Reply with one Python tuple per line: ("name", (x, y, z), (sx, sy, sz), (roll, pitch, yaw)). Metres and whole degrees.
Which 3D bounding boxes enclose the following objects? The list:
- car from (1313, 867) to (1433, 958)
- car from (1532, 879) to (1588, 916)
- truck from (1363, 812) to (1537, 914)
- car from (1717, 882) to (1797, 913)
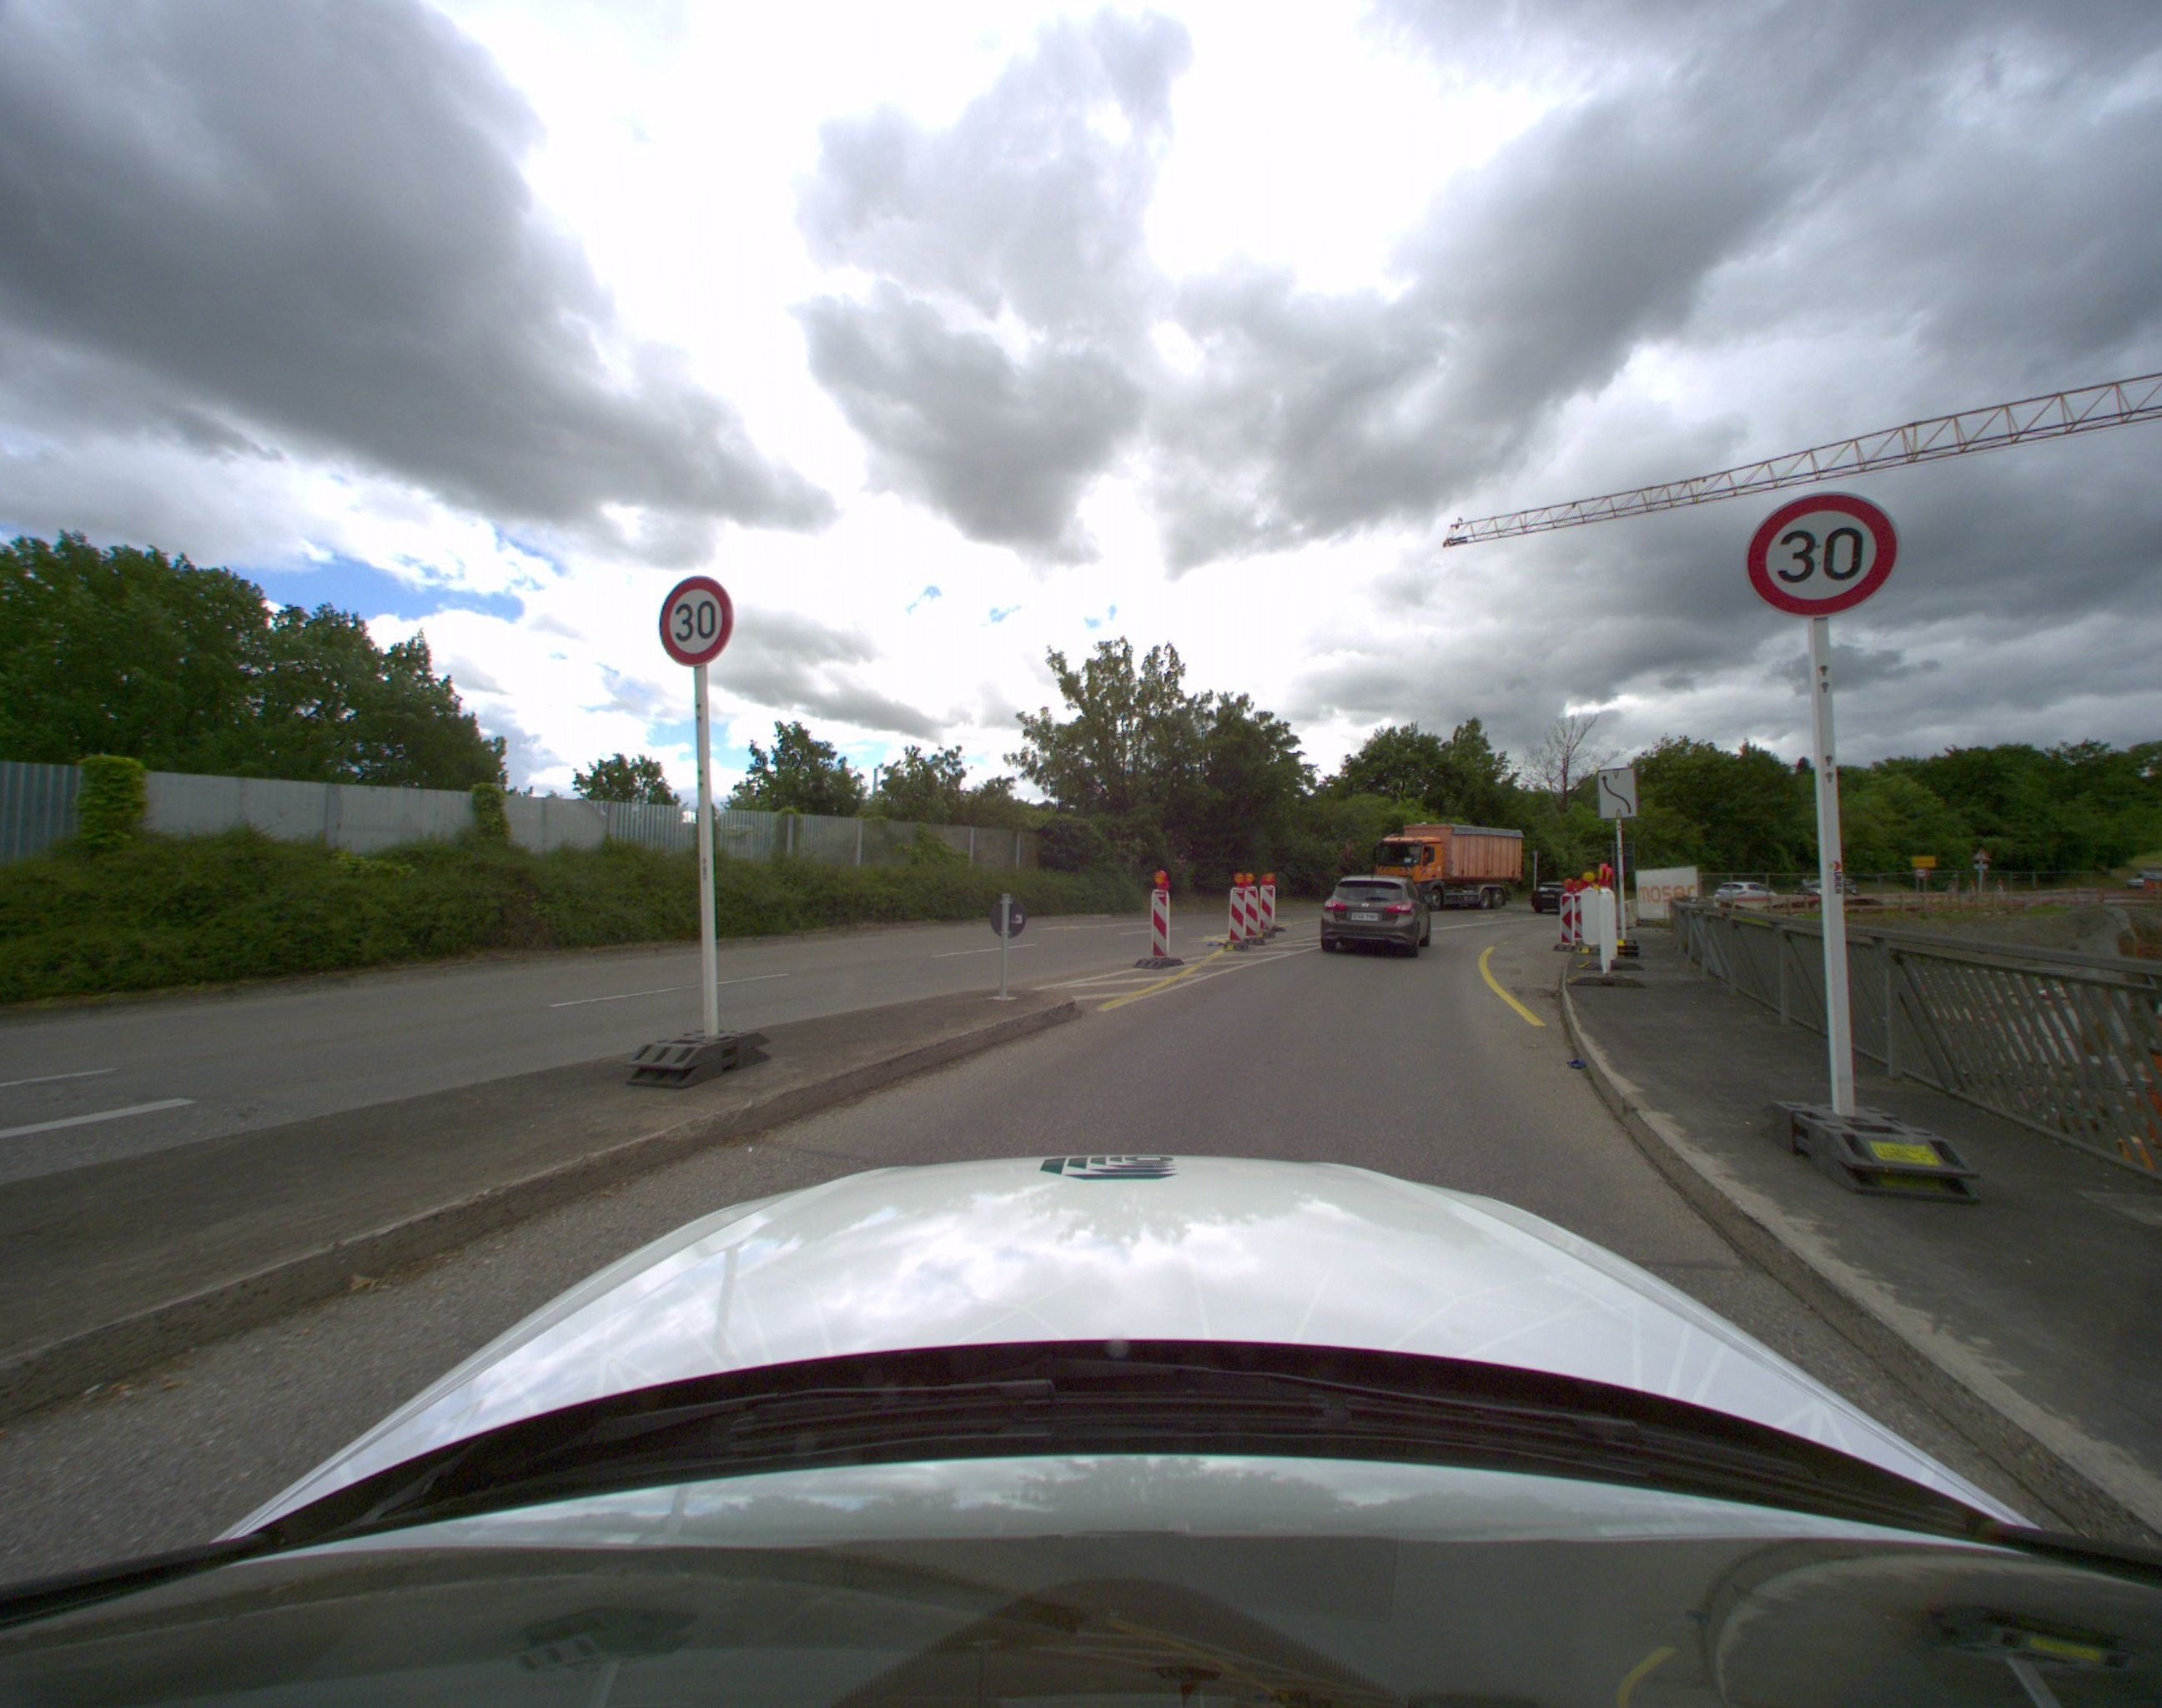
("car", (6.092, 1.117, 16.686), (1.781, 1.552, 4.023), (1, -2, 27))
("car", (22.101, 1.950, 37.496), (1.802, 1.552, 3.812), (0, -1, 37))
("truck", (17.413, 0.518, 38.060), (9.836, 4.221, 3.085), (2, -2, -37))
("car", (38.437, 2.481, 46.317), (4.001, 1.675, 1.705), (2, -3, -21))
